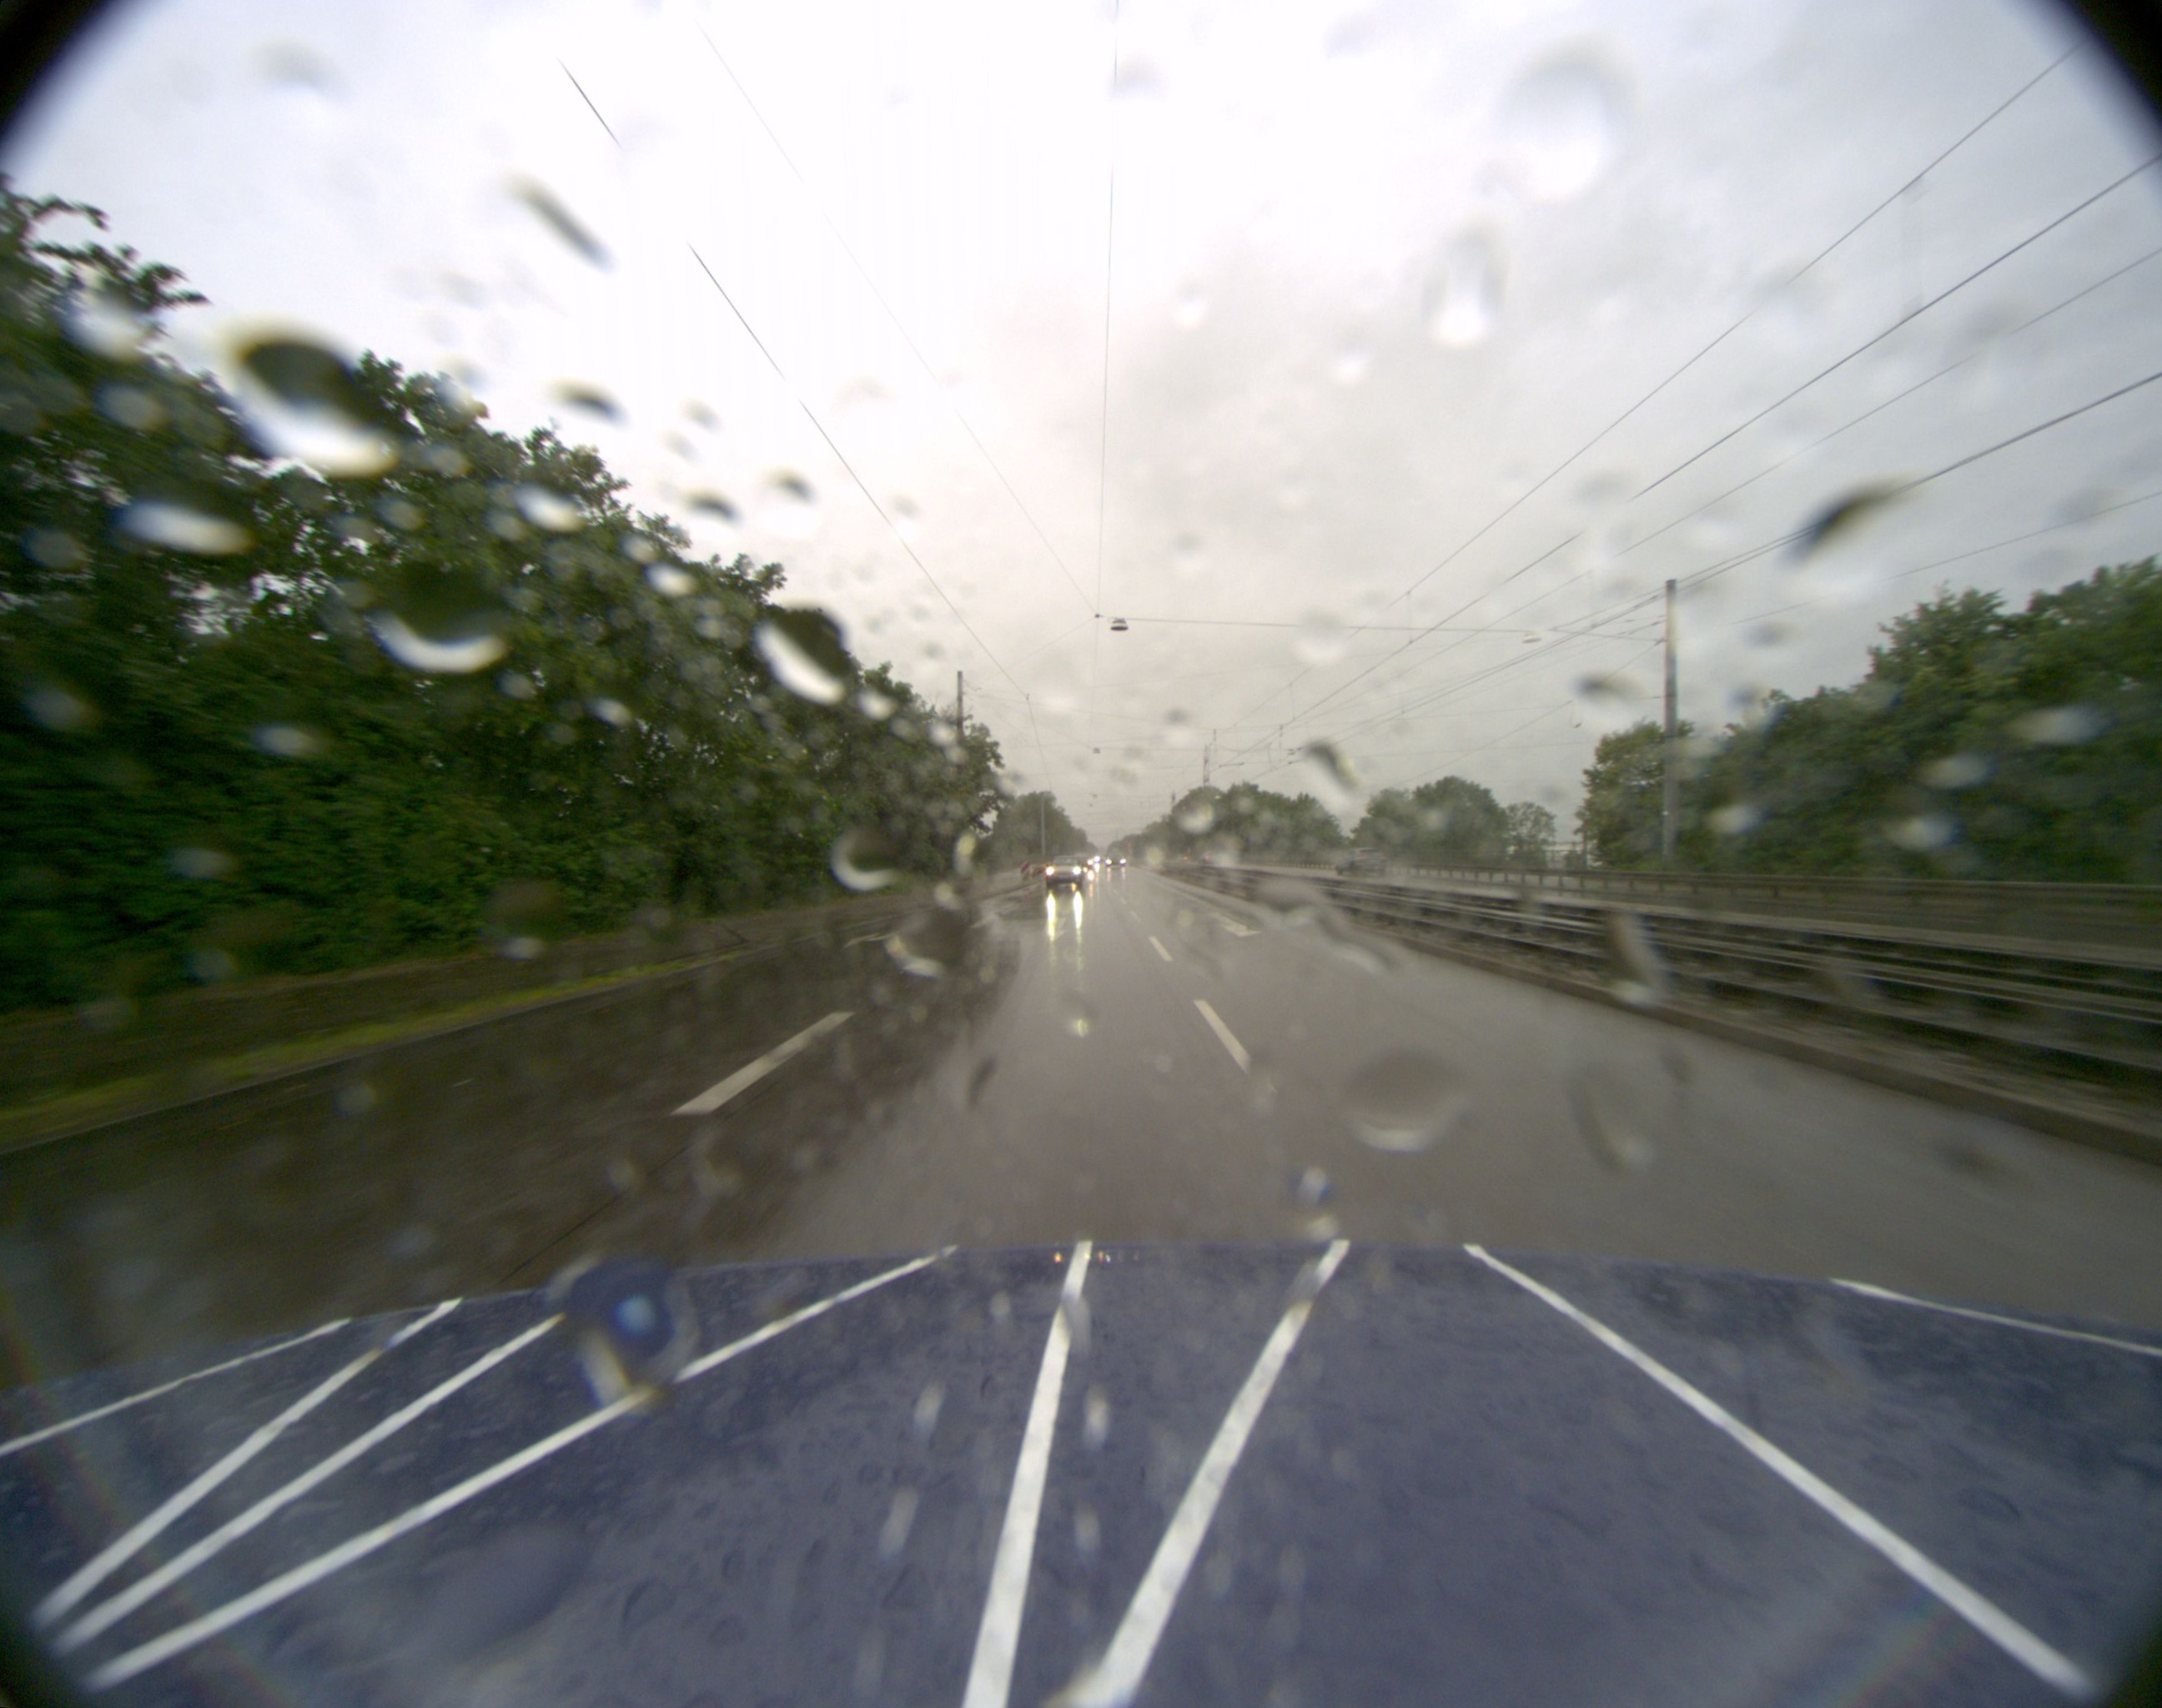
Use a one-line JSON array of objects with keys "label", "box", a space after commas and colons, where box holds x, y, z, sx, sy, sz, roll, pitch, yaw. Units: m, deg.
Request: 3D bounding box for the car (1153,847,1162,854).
[{"label": "car", "box": [21.313, -1.014, 211.382, 1.837, 1.701, 4.661, 3, 0, 1]}]

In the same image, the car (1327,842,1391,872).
[{"label": "car", "box": [16.648, 0.184, 45.733, 1.999, 1.663, 4.871, -1, 0, 0]}]

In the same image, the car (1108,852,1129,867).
[{"label": "car", "box": [3.849, 0.555, 78.472, 1.971, 1.412, 3.999, 0, 1, 1]}]

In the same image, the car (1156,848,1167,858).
[{"label": "car", "box": [17.394, -0.217, 164.398, 1.853, 1.821, 4.393, -4, 1, 1]}]

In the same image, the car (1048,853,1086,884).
[{"label": "car", "box": [-0.628, 0.675, 37.159, 1.751, 1.412, 3.999, 0, 1, 1]}]

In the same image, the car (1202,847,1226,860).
[{"label": "car", "box": [15.498, -0.062, 88.765, 1.999, 1.380, 4.852, -1, 0, 0]}]

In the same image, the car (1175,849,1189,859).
[{"label": "car", "box": [17.856, -0.054, 134.645, 1.851, 1.585, 3.999, -1, 1, 1]}]

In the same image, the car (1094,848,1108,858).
[{"label": "car", "box": [2.896, -0.145, 111.827, 1.971, 1.412, 3.999, 0, 1, 1]}]

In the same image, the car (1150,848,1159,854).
[{"label": "car", "box": [18.525, -0.785, 192.241, 1.998, 1.608, 3.999, -1, 1, 1]}]
